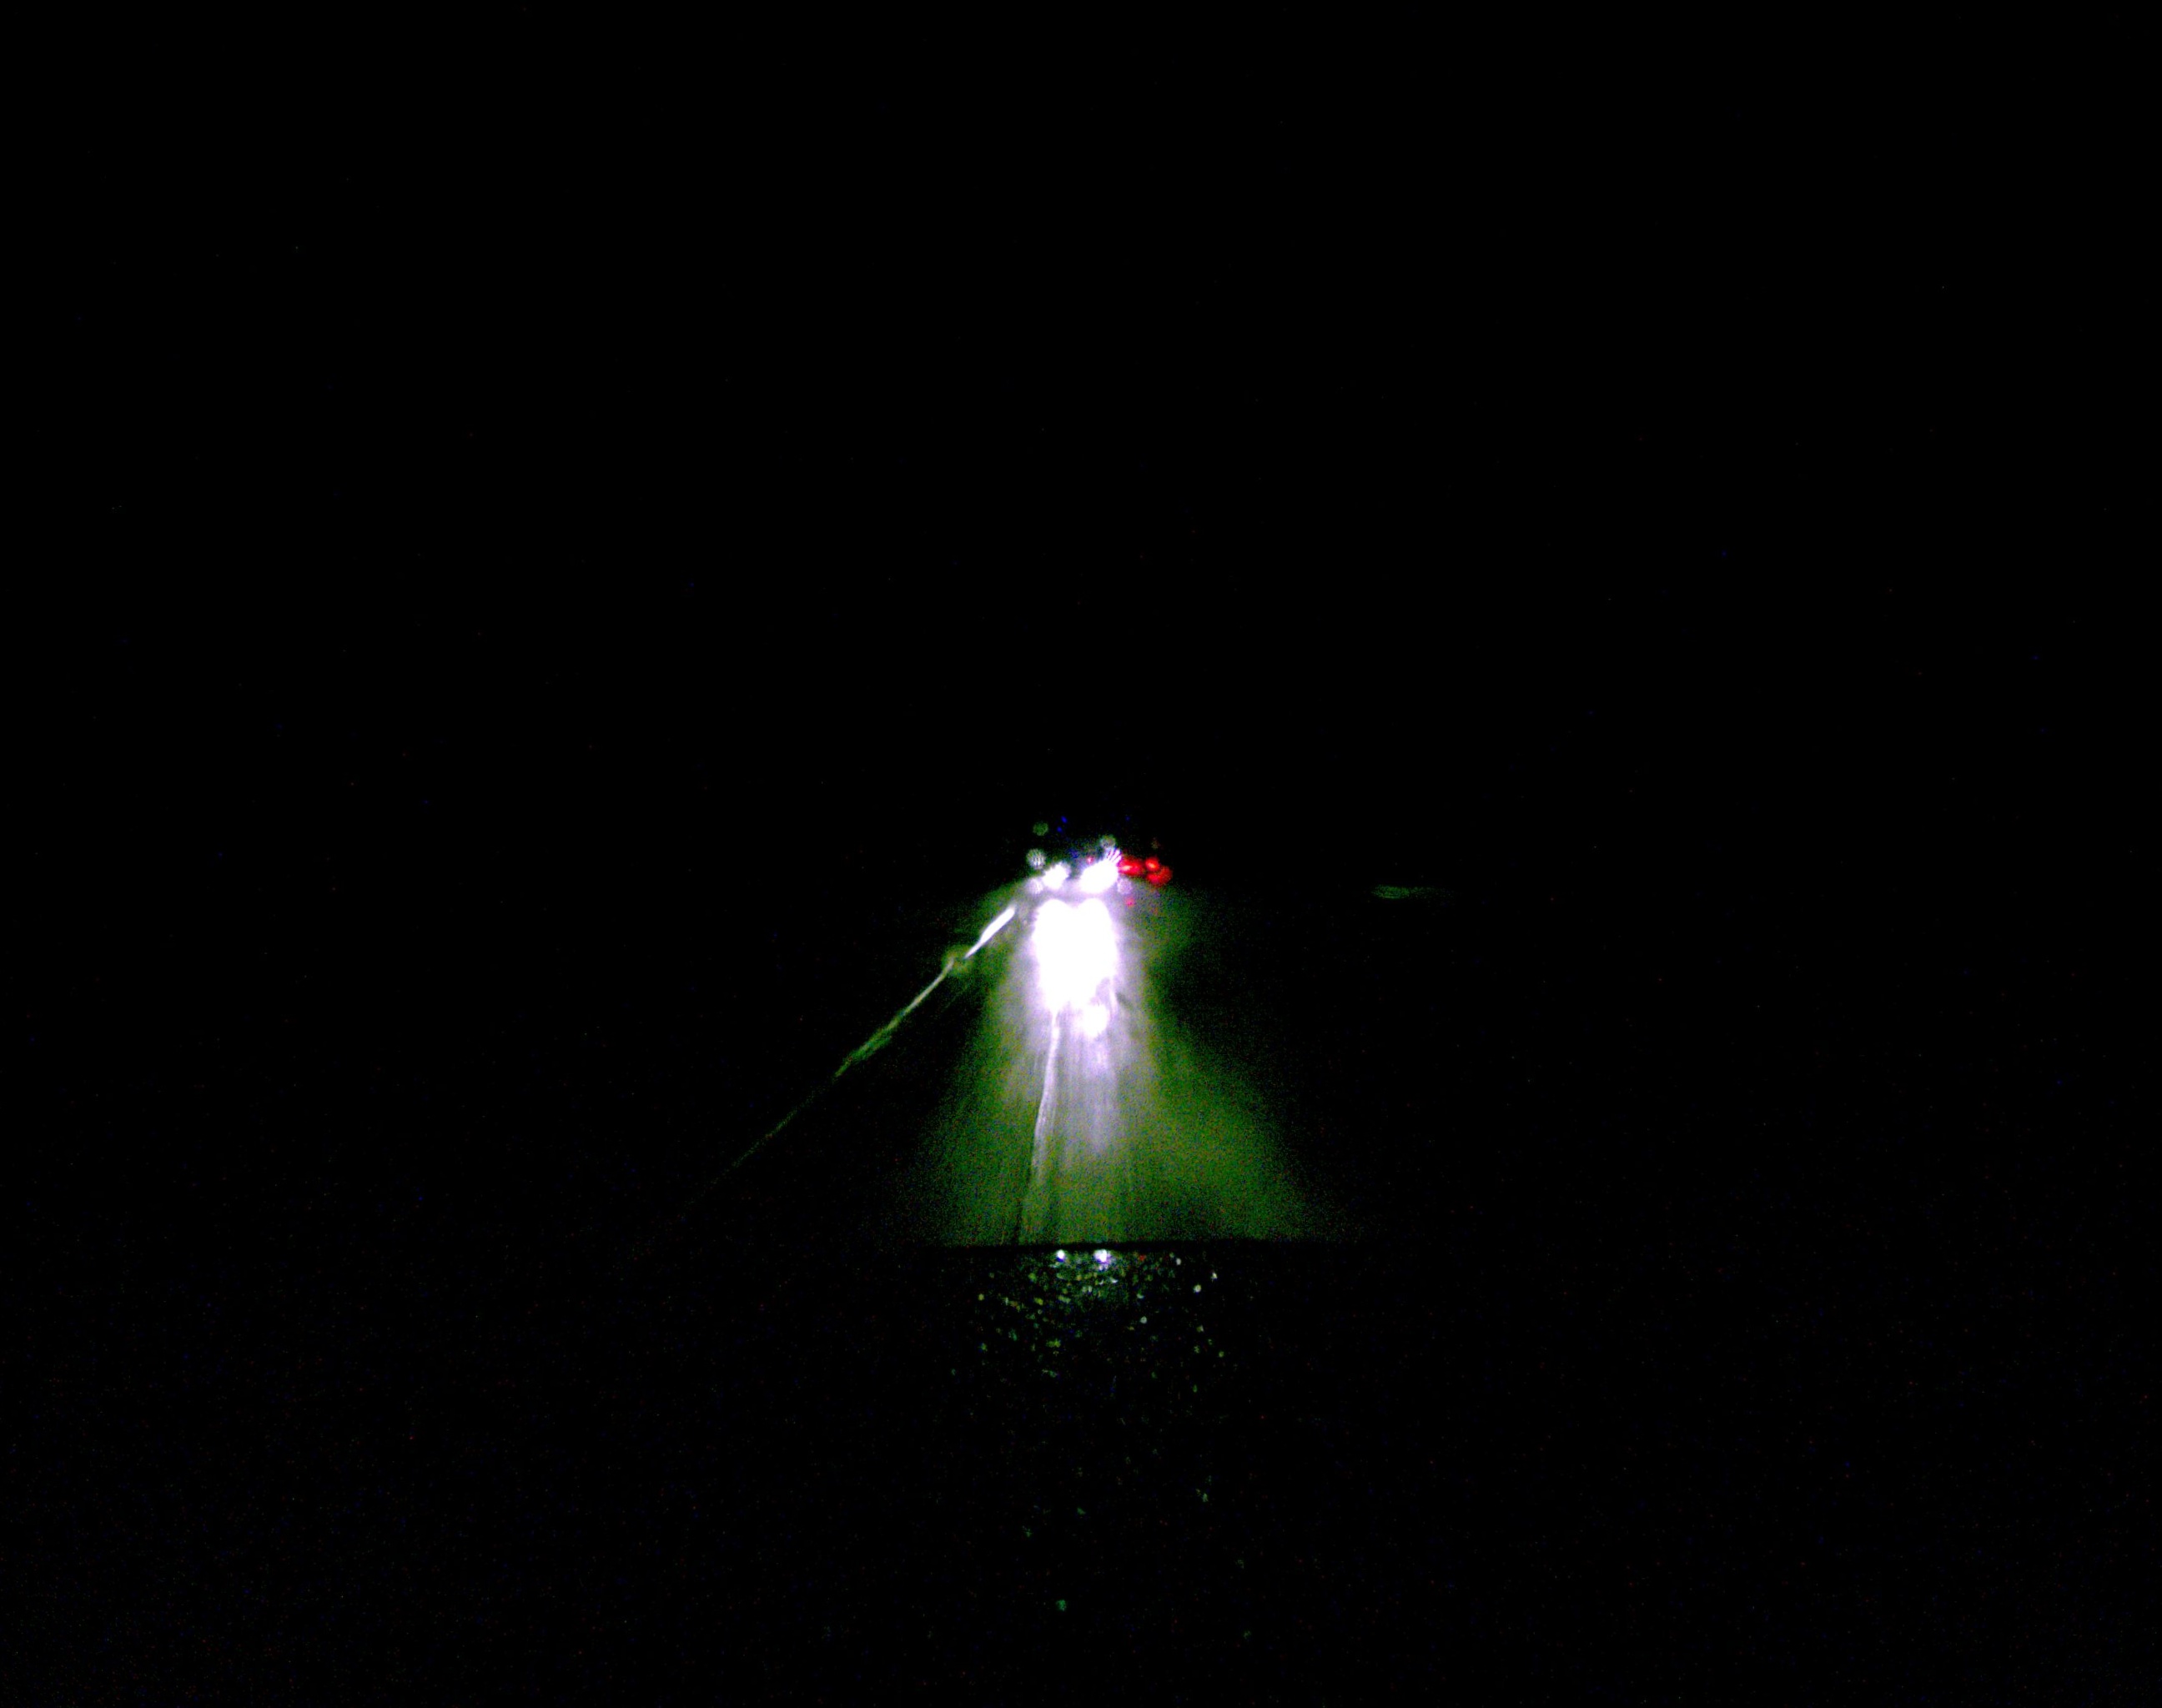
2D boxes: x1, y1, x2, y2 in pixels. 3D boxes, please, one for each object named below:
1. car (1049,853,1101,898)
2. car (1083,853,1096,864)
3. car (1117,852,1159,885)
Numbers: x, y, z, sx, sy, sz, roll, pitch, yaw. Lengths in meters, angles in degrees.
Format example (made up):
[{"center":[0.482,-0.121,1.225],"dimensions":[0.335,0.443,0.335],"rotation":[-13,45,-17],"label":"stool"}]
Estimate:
[{"center":[-0.292,0.810,30.358],"dimensions":[1.863,1.601,4.419],"rotation":[-3,0,-2],"label":"car"},{"center":[1.238,0.654,116.153],"dimensions":[1.835,1.637,3.999],"rotation":[-1,1,-2],"label":"car"},{"center":[2.993,0.721,40.440],"dimensions":[1.894,1.628,4.155],"rotation":[0,1,0],"label":"car"}]
